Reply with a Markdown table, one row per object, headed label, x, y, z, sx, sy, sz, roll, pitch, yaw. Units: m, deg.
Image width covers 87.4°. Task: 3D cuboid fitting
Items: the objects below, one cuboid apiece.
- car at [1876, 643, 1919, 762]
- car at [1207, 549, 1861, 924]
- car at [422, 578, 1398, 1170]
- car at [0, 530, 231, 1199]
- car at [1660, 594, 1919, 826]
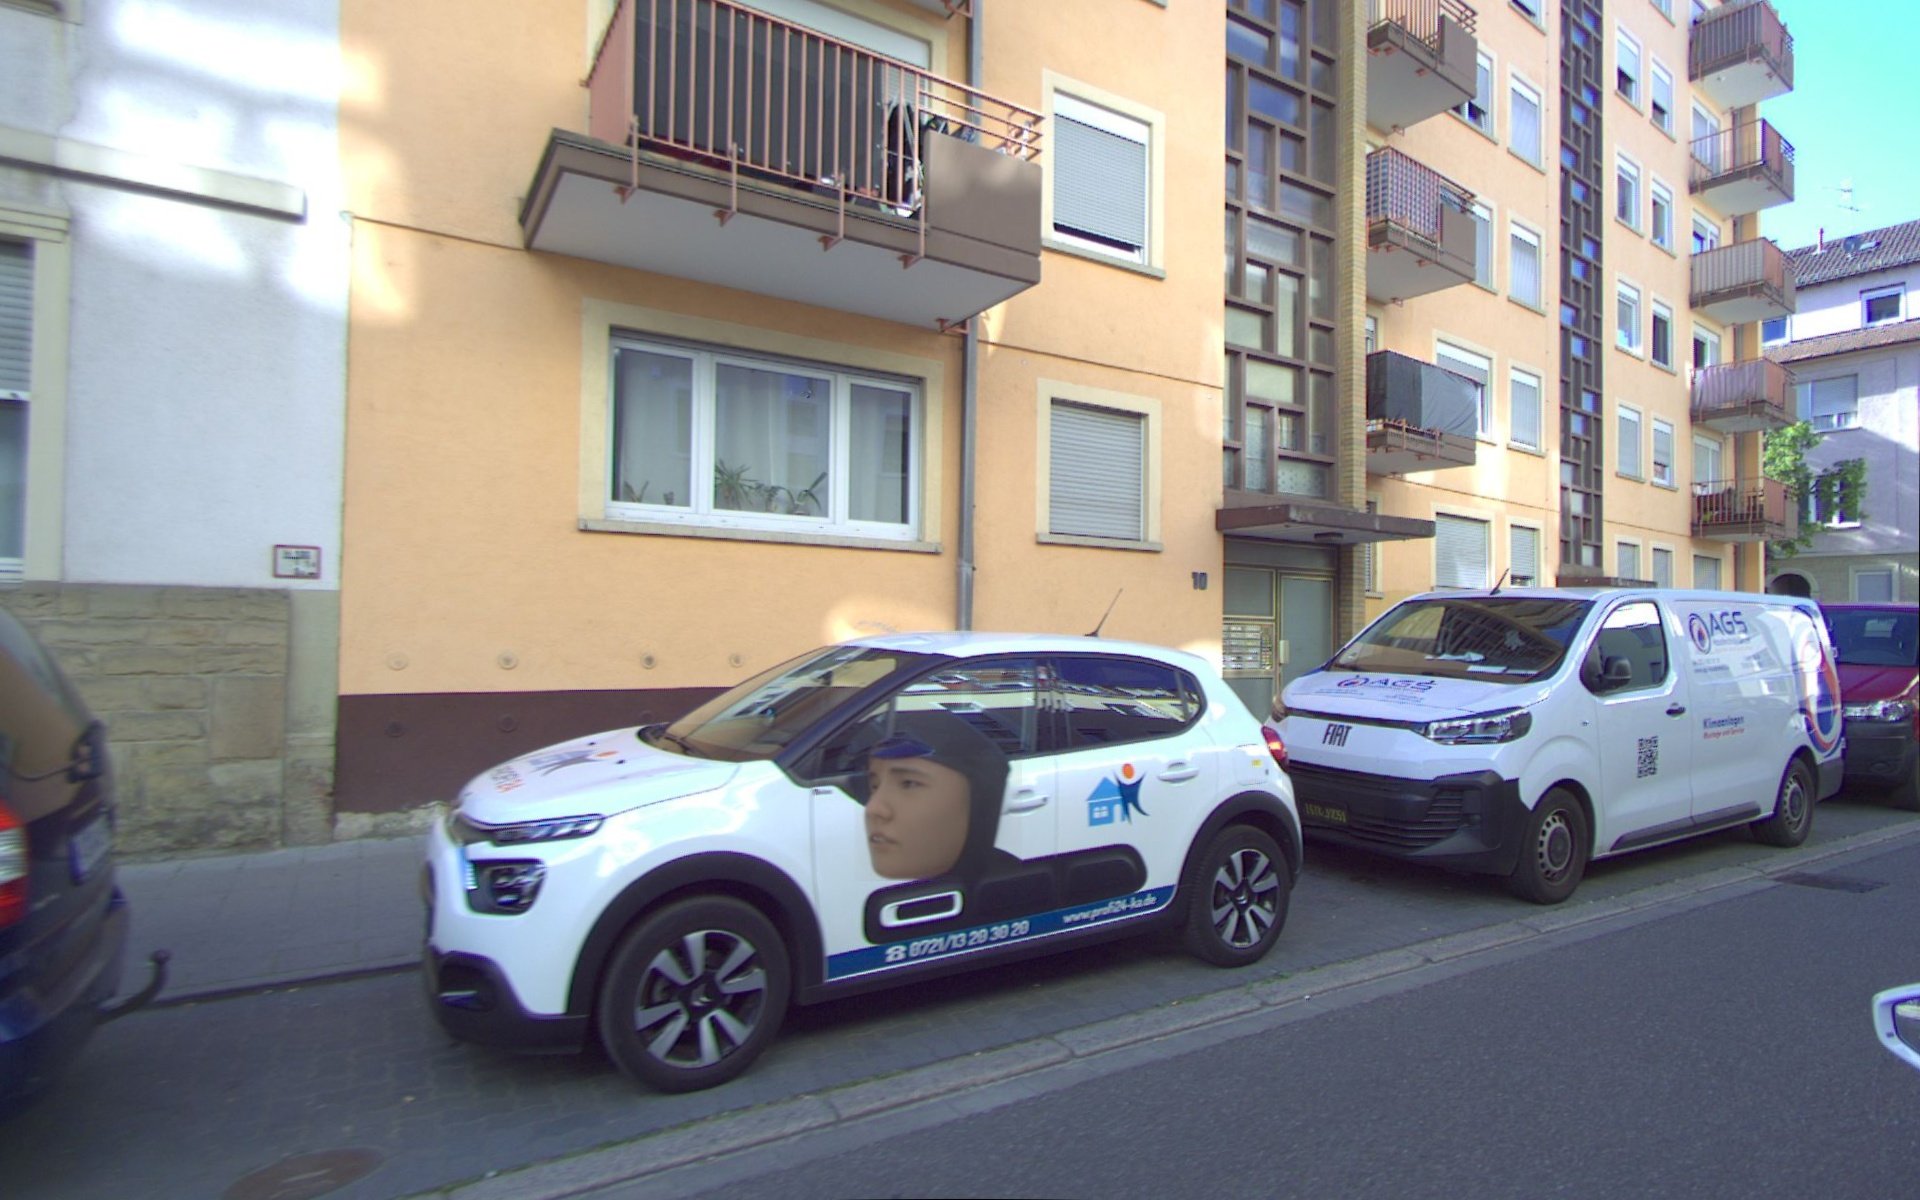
| label | x | y | z | sx | sy | sz | roll | pitch | yaw |
| --- | --- | --- | --- | --- | --- | --- | --- | --- | --- |
| car | 14.213 | 1.339 | 13.566 | 3.957 | 1.522 | 1.753 | 2 | -3 | -33 |
| car | 4.439 | 0.803 | 7.476 | 5.250 | 1.950 | 1.965 | 1 | -3 | -32 |
| car | -0.050 | 0.842 | 4.694 | 4.247 | 1.642 | 1.754 | 1 | -3 | -32 |
| car | -4.197 | 0.730 | 2.018 | 4.246 | 1.794 | 1.754 | 1 | -3 | -32 |
| car | 9.510 | 1.014 | 10.541 | 4.880 | 1.950 | 1.753 | 1 | -3 | -32 |
